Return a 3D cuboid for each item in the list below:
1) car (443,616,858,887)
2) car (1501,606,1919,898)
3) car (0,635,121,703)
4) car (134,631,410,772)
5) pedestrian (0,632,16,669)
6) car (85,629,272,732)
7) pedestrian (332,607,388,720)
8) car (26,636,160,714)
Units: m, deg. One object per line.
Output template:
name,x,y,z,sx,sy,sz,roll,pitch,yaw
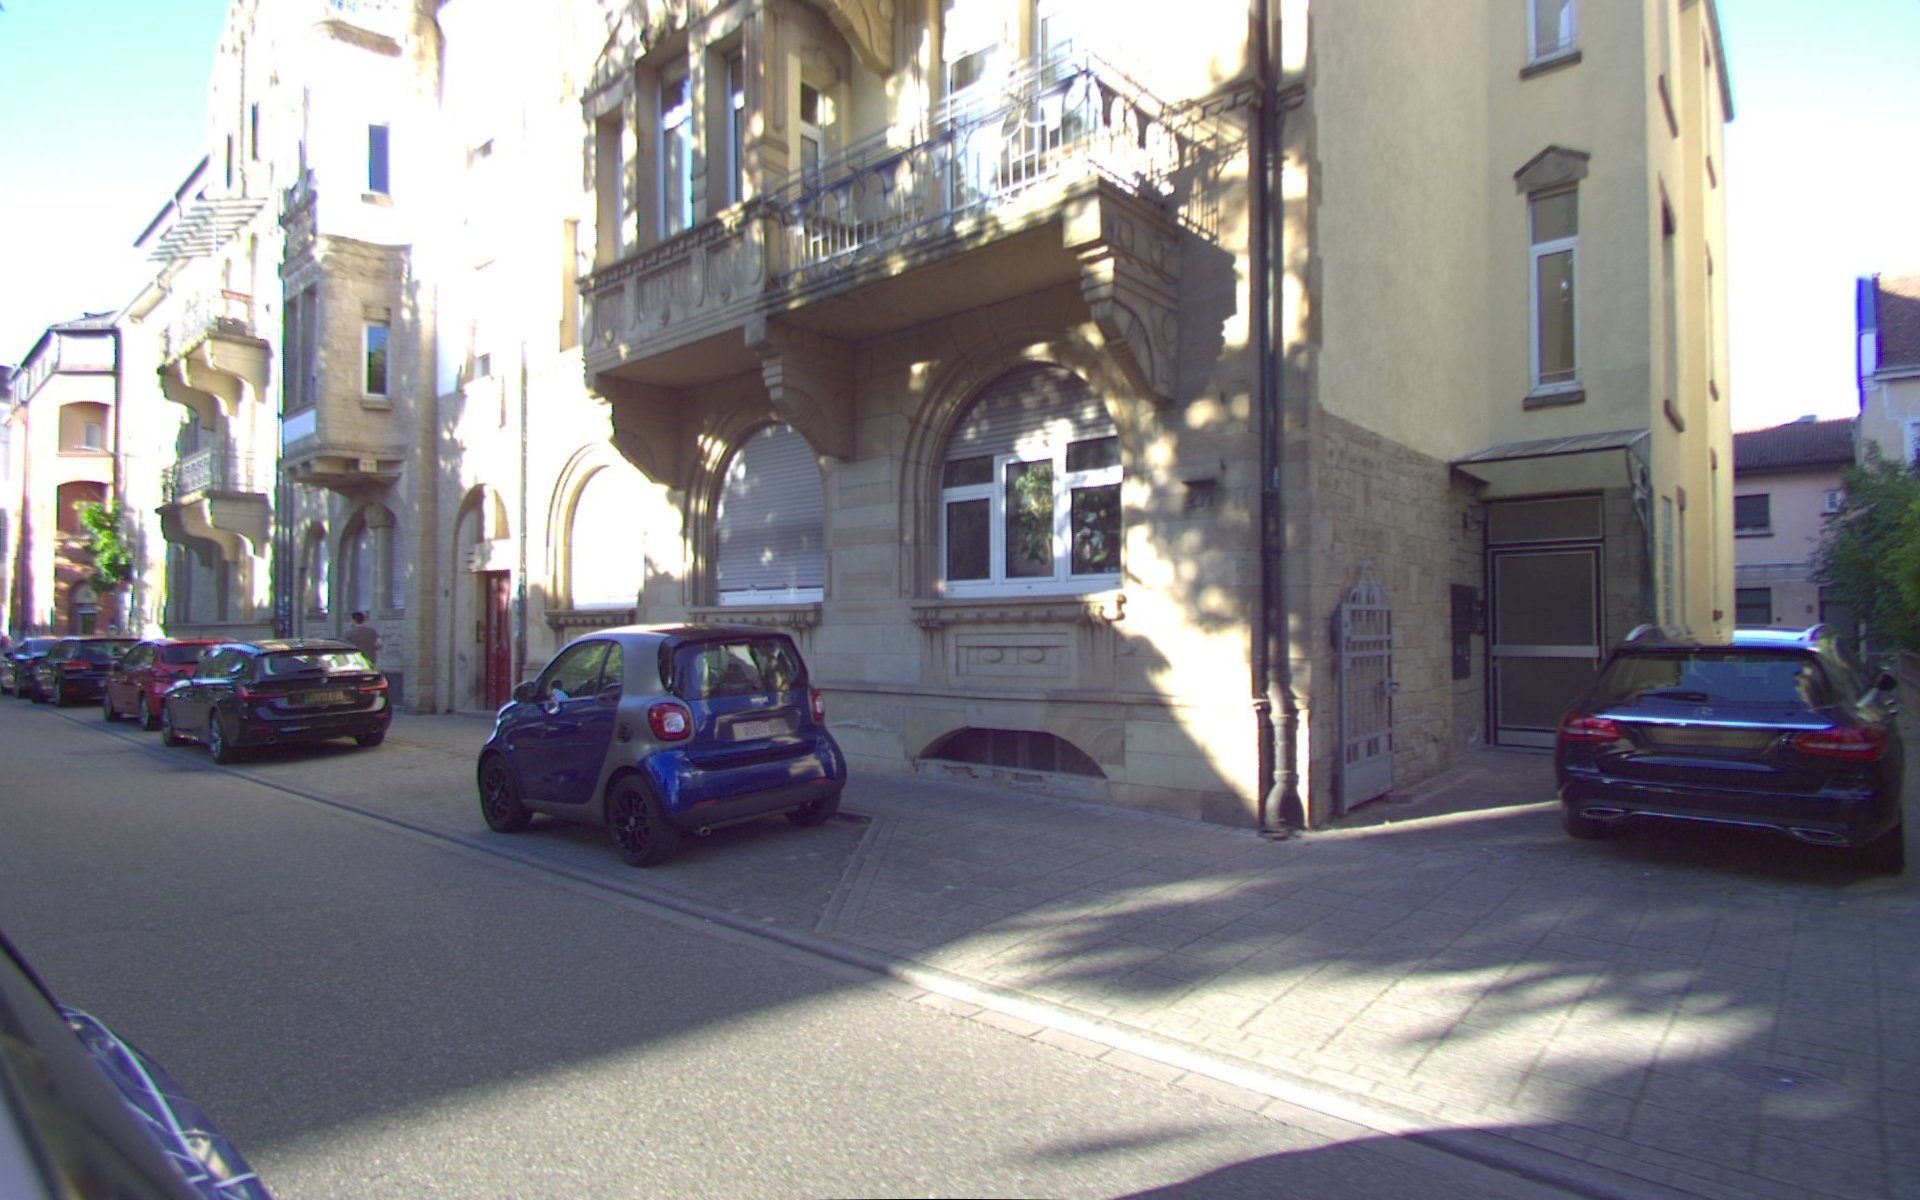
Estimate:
car,-2.378,0.944,7.558,2.860,1.520,1.666,-2,1,41
car,5.655,0.795,7.273,2.068,1.449,4.342,-2,-1,43
car,-23.146,1.701,25.746,4.506,1.468,1.870,-2,1,39
car,-9.236,1.207,13.432,4.539,1.449,1.881,-2,1,41
pedestrian,-44.930,2.378,47.523,1.009,1.715,0.769,-2,-3,41
car,-13.502,1.307,17.419,3.769,1.477,1.673,-2,2,39
pedestrian,-10.219,1.063,17.246,0.497,1.861,0.685,-2,-1,42
car,-18.902,1.550,22.006,3.997,1.477,1.724,-2,-1,42
